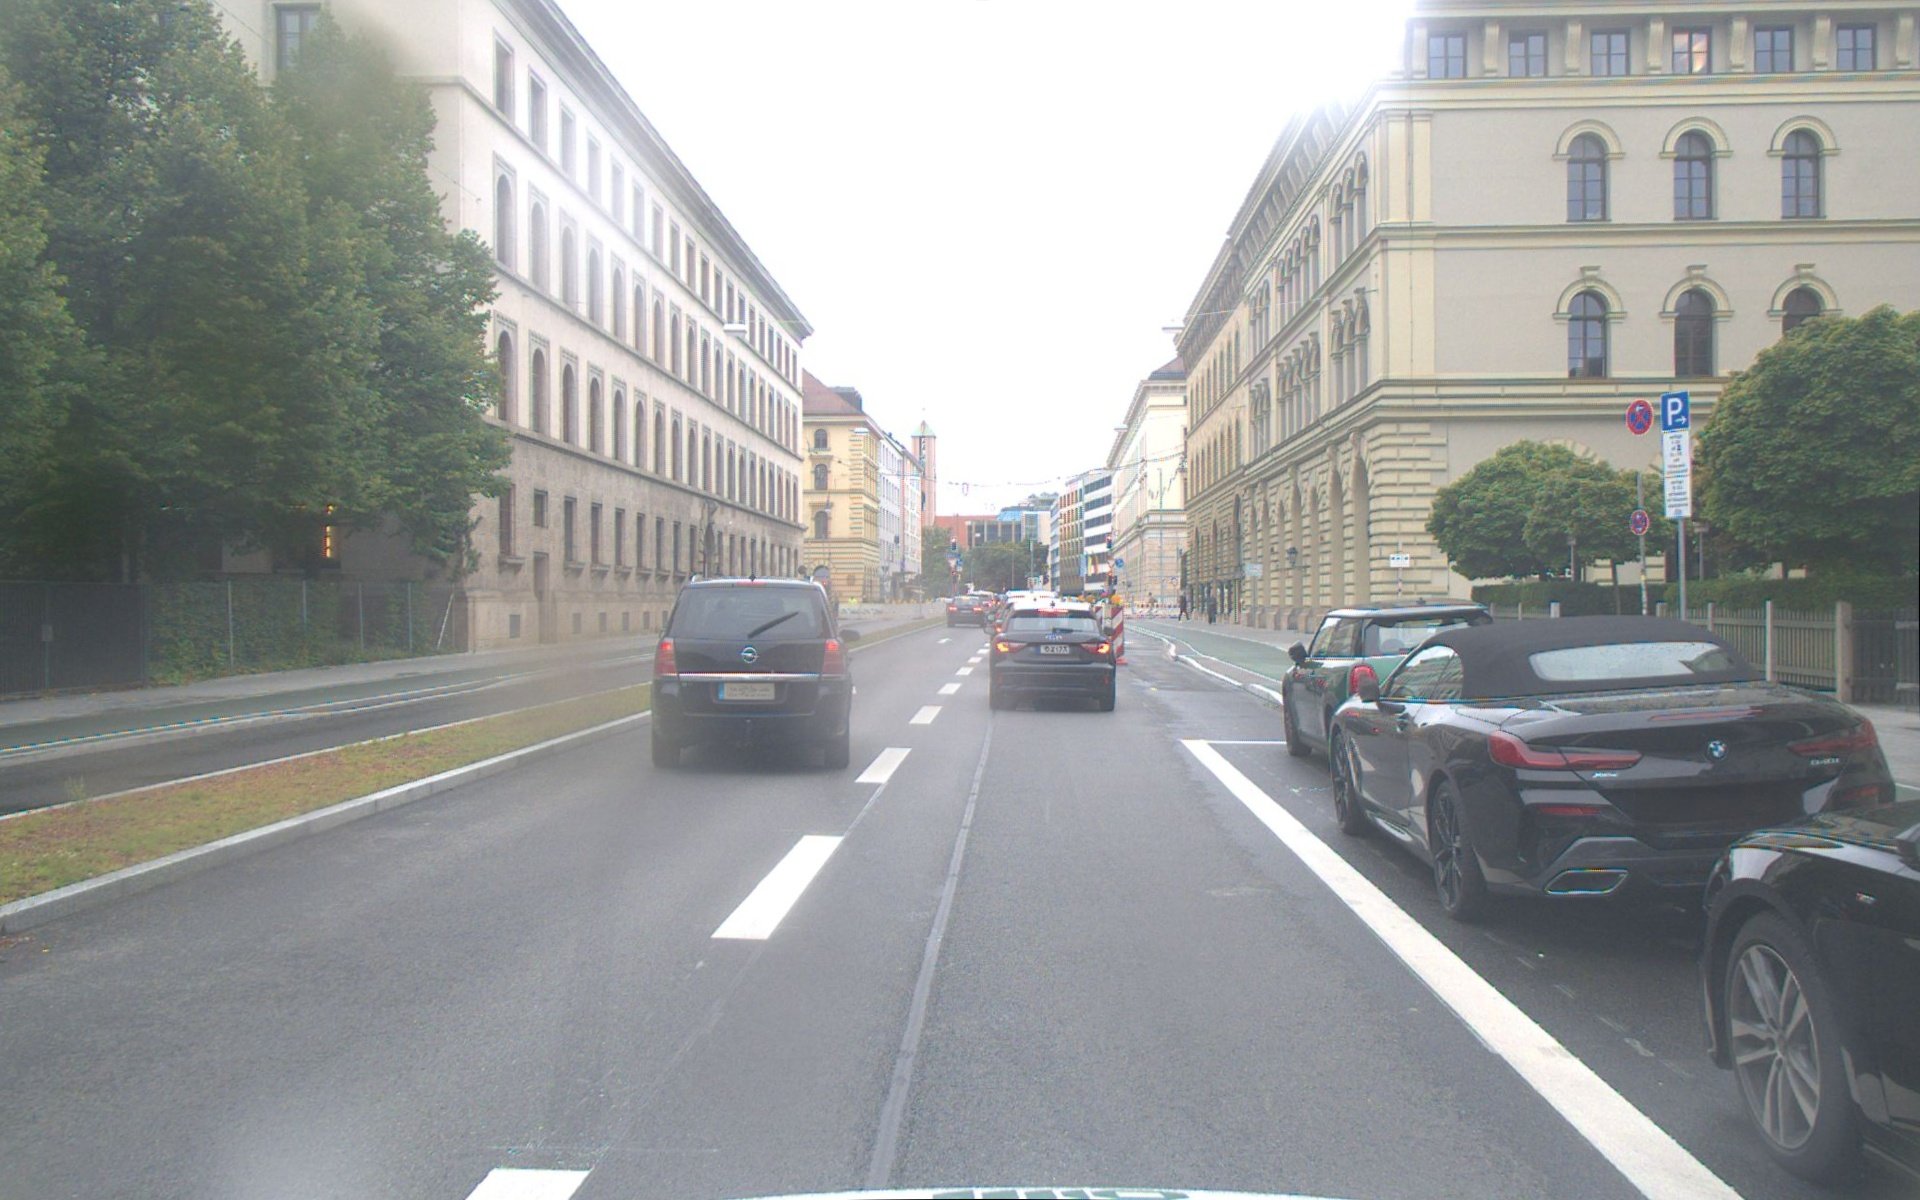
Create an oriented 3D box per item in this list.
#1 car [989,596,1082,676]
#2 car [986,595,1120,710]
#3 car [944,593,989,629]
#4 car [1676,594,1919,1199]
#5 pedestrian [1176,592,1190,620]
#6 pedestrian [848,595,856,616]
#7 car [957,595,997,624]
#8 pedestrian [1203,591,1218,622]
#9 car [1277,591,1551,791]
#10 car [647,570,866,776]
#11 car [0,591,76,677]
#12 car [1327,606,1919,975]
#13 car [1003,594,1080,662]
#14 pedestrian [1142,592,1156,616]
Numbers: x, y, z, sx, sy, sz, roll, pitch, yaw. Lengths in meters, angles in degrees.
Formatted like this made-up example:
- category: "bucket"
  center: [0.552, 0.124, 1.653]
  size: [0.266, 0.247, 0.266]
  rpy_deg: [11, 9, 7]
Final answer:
- category: "car"
  center: [1.490, 0.656, 32.536]
  size: [1.694, 1.427, 4.001]
  rpy_deg: [1, 0, 2]
- category: "car"
  center: [1.278, 0.667, 23.237]
  size: [1.694, 1.427, 4.001]
  rpy_deg: [1, 0, 2]
- category: "car"
  center: [0.335, 0.507, 77.670]
  size: [1.952, 1.656, 4.002]
  rpy_deg: [0, 0, 3]
- category: "car"
  center: [3.007, 0.733, 2.634]
  size: [1.772, 1.506, 4.463]
  rpy_deg: [-4, 0, 1]
- category: "pedestrian"
  center: [13.077, 0.348, 96.992]
  size: [0.695, 1.646, 0.754]
  rpy_deg: [0, 0, 2]
- category: "pedestrian"
  center: [-9.384, 0.446, 143.898]
  size: [0.642, 1.836, 0.727]
  rpy_deg: [0, 0, 2]
- category: "car"
  center: [0.938, 0.495, 88.374]
  size: [1.952, 1.469, 4.002]
  rpy_deg: [0, 0, 3]
- category: "pedestrian"
  center: [13.447, 0.338, 88.790]
  size: [0.695, 1.646, 0.754]
  rpy_deg: [0, 0, 2]
- category: "car"
  center: [3.945, 0.710, 14.960]
  size: [1.640, 1.547, 3.831]
  rpy_deg: [1, 0, 4]
- category: "car"
  center: [-1.921, 0.579, 15.342]
  size: [1.732, 1.644, 4.022]
  rpy_deg: [1, 0, -8]
- category: "car"
  center: [-20.356, 0.685, 33.267]
  size: [4.173, 1.678, 1.805]
  rpy_deg: [-1, 0, 2]
- category: "car"
  center: [3.301, 0.781, 9.094]
  size: [1.787, 1.432, 4.722]
  rpy_deg: [1, 0, 4]
- category: "car"
  center: [1.900, 0.622, 38.863]
  size: [1.694, 1.486, 4.001]
  rpy_deg: [1, 0, 2]
- category: "pedestrian"
  center: [13.216, 0.287, 115.864]
  size: [0.701, 1.646, 0.748]
  rpy_deg: [0, 0, -27]
